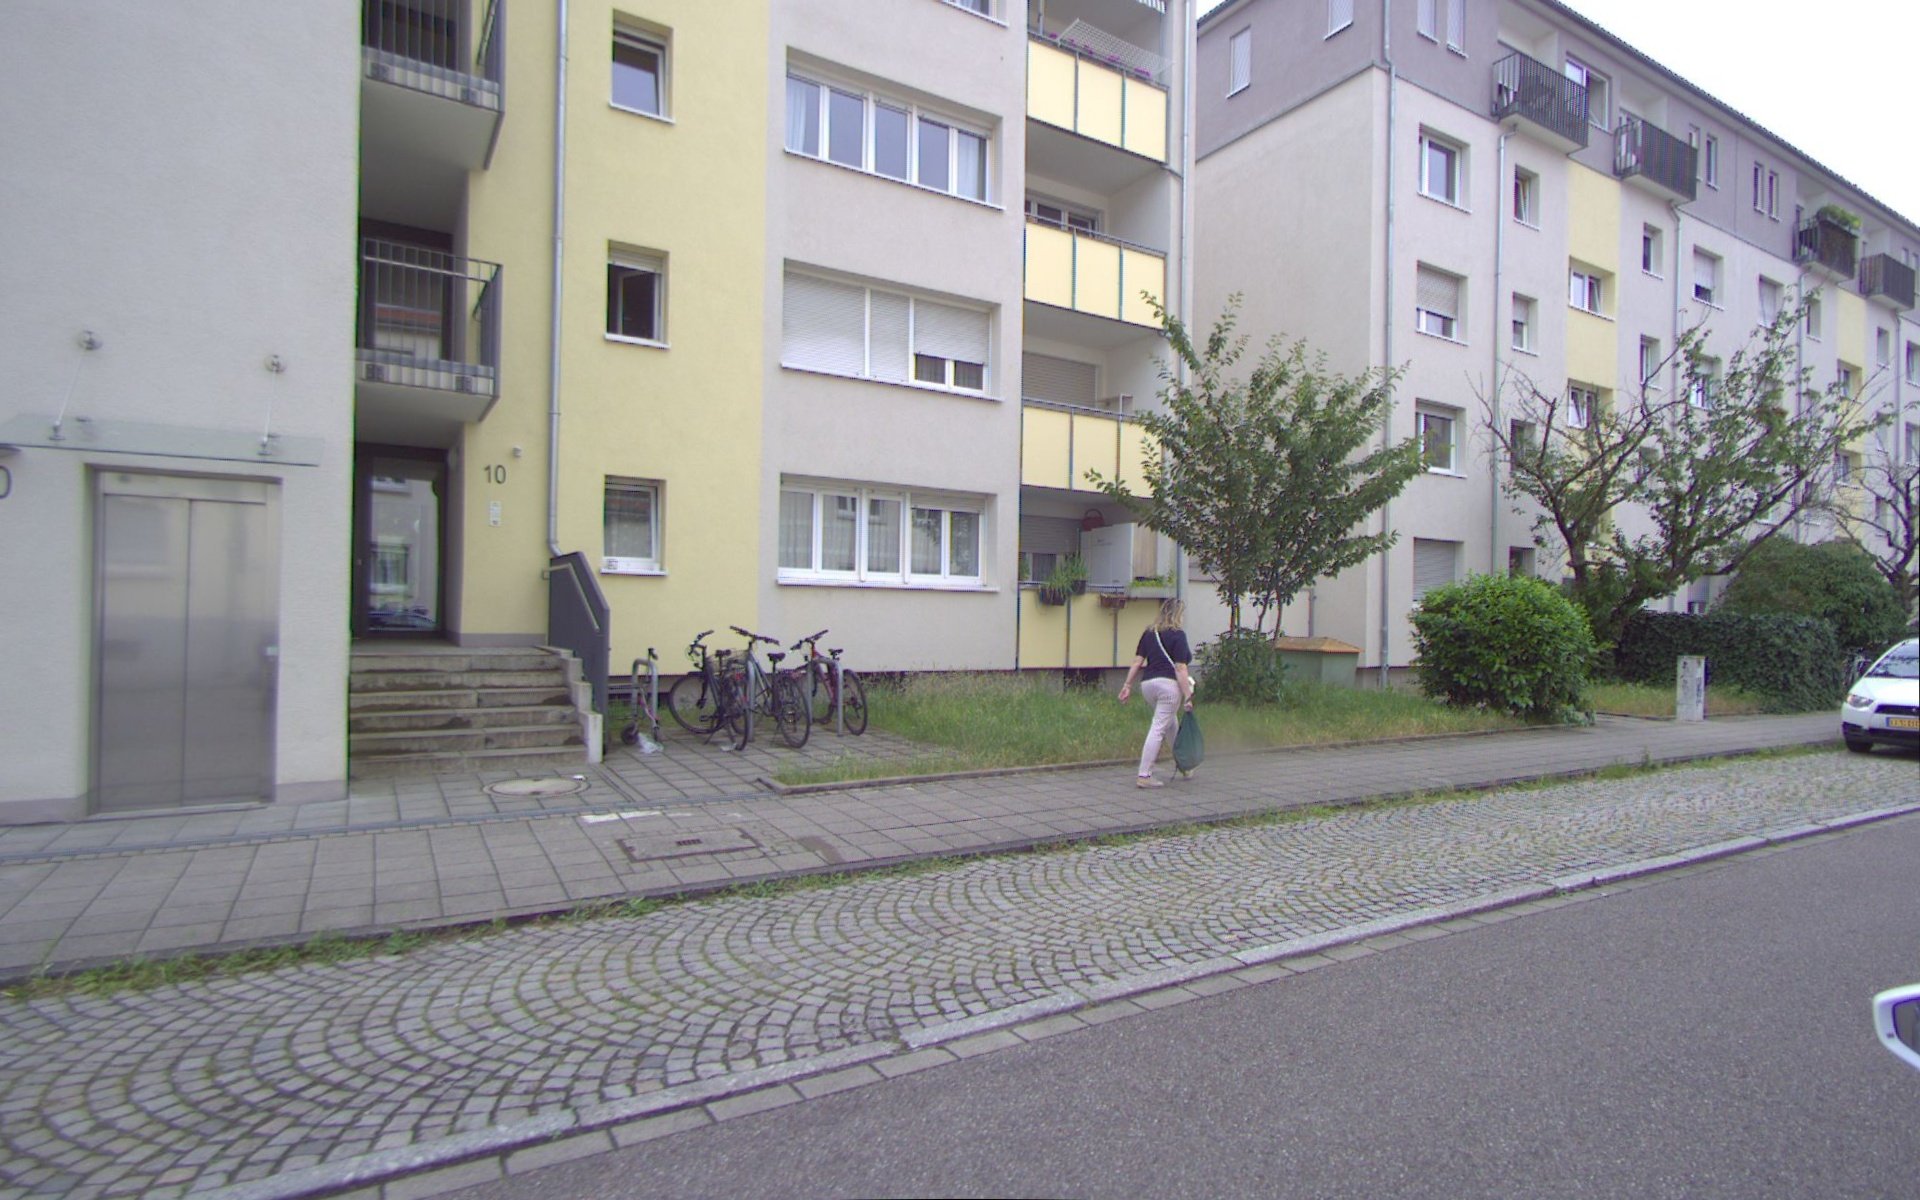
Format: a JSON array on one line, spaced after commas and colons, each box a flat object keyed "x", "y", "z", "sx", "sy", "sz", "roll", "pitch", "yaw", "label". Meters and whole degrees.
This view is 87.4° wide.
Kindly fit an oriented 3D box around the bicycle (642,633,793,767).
[{"x": -2.445, "y": 0.926, "z": 9.949, "sx": 0.618, "sy": 1.156, "sz": 2.006, "roll": 2, "pitch": -1, "yaw": -40, "label": "bicycle"}]

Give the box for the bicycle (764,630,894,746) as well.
[{"x": -1.510, "y": 0.932, "z": 11.284, "sx": 0.617, "sy": 1.156, "sz": 2.010, "roll": 1, "pitch": -1, "yaw": -34, "label": "bicycle"}]

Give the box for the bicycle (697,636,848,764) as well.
[{"x": -1.983, "y": 0.972, "z": 10.377, "sx": 0.618, "sy": 1.156, "sz": 2.005, "roll": 2, "pitch": -1, "yaw": -40, "label": "bicycle"}]

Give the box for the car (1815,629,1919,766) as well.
[{"x": 13.060, "y": 1.234, "z": 13.153, "sx": 3.826, "sy": 1.591, "sz": 1.711, "roll": 2, "pitch": 1, "yaw": -31, "label": "car"}]

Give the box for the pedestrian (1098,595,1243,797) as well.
[{"x": 1.824, "y": 0.791, "z": 8.713, "sx": 0.938, "sy": 1.631, "sz": 0.794, "roll": 1, "pitch": -1, "yaw": -35, "label": "pedestrian"}]
